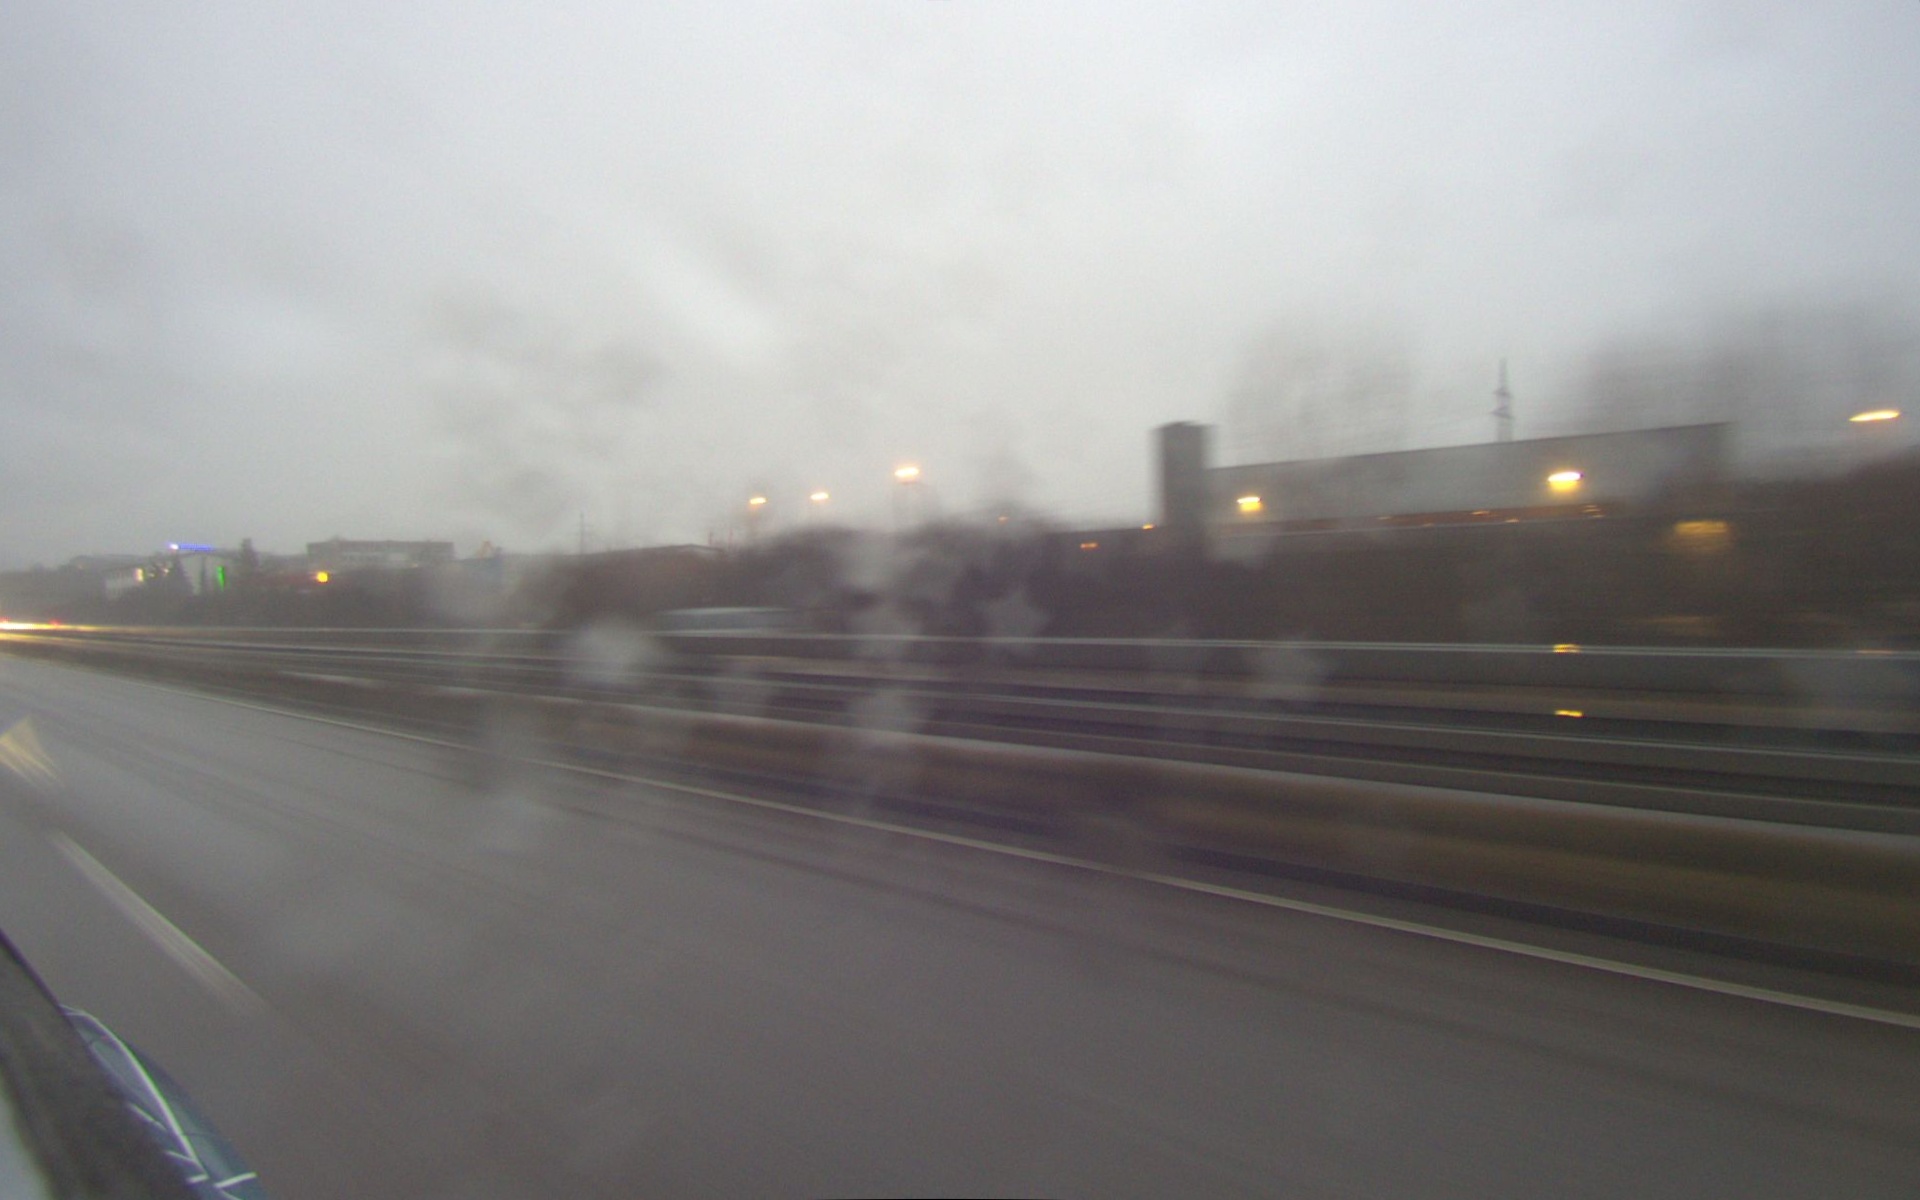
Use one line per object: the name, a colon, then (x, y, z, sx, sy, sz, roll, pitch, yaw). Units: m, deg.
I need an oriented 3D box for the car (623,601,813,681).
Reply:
car: (-5.128, 0.795, 21.115, 4.364, 1.486, 1.685, -1, -1, 42)

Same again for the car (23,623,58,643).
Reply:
car: (-75.944, 2.703, 83.611, 3.998, 1.652, 1.722, -1, -1, 42)
